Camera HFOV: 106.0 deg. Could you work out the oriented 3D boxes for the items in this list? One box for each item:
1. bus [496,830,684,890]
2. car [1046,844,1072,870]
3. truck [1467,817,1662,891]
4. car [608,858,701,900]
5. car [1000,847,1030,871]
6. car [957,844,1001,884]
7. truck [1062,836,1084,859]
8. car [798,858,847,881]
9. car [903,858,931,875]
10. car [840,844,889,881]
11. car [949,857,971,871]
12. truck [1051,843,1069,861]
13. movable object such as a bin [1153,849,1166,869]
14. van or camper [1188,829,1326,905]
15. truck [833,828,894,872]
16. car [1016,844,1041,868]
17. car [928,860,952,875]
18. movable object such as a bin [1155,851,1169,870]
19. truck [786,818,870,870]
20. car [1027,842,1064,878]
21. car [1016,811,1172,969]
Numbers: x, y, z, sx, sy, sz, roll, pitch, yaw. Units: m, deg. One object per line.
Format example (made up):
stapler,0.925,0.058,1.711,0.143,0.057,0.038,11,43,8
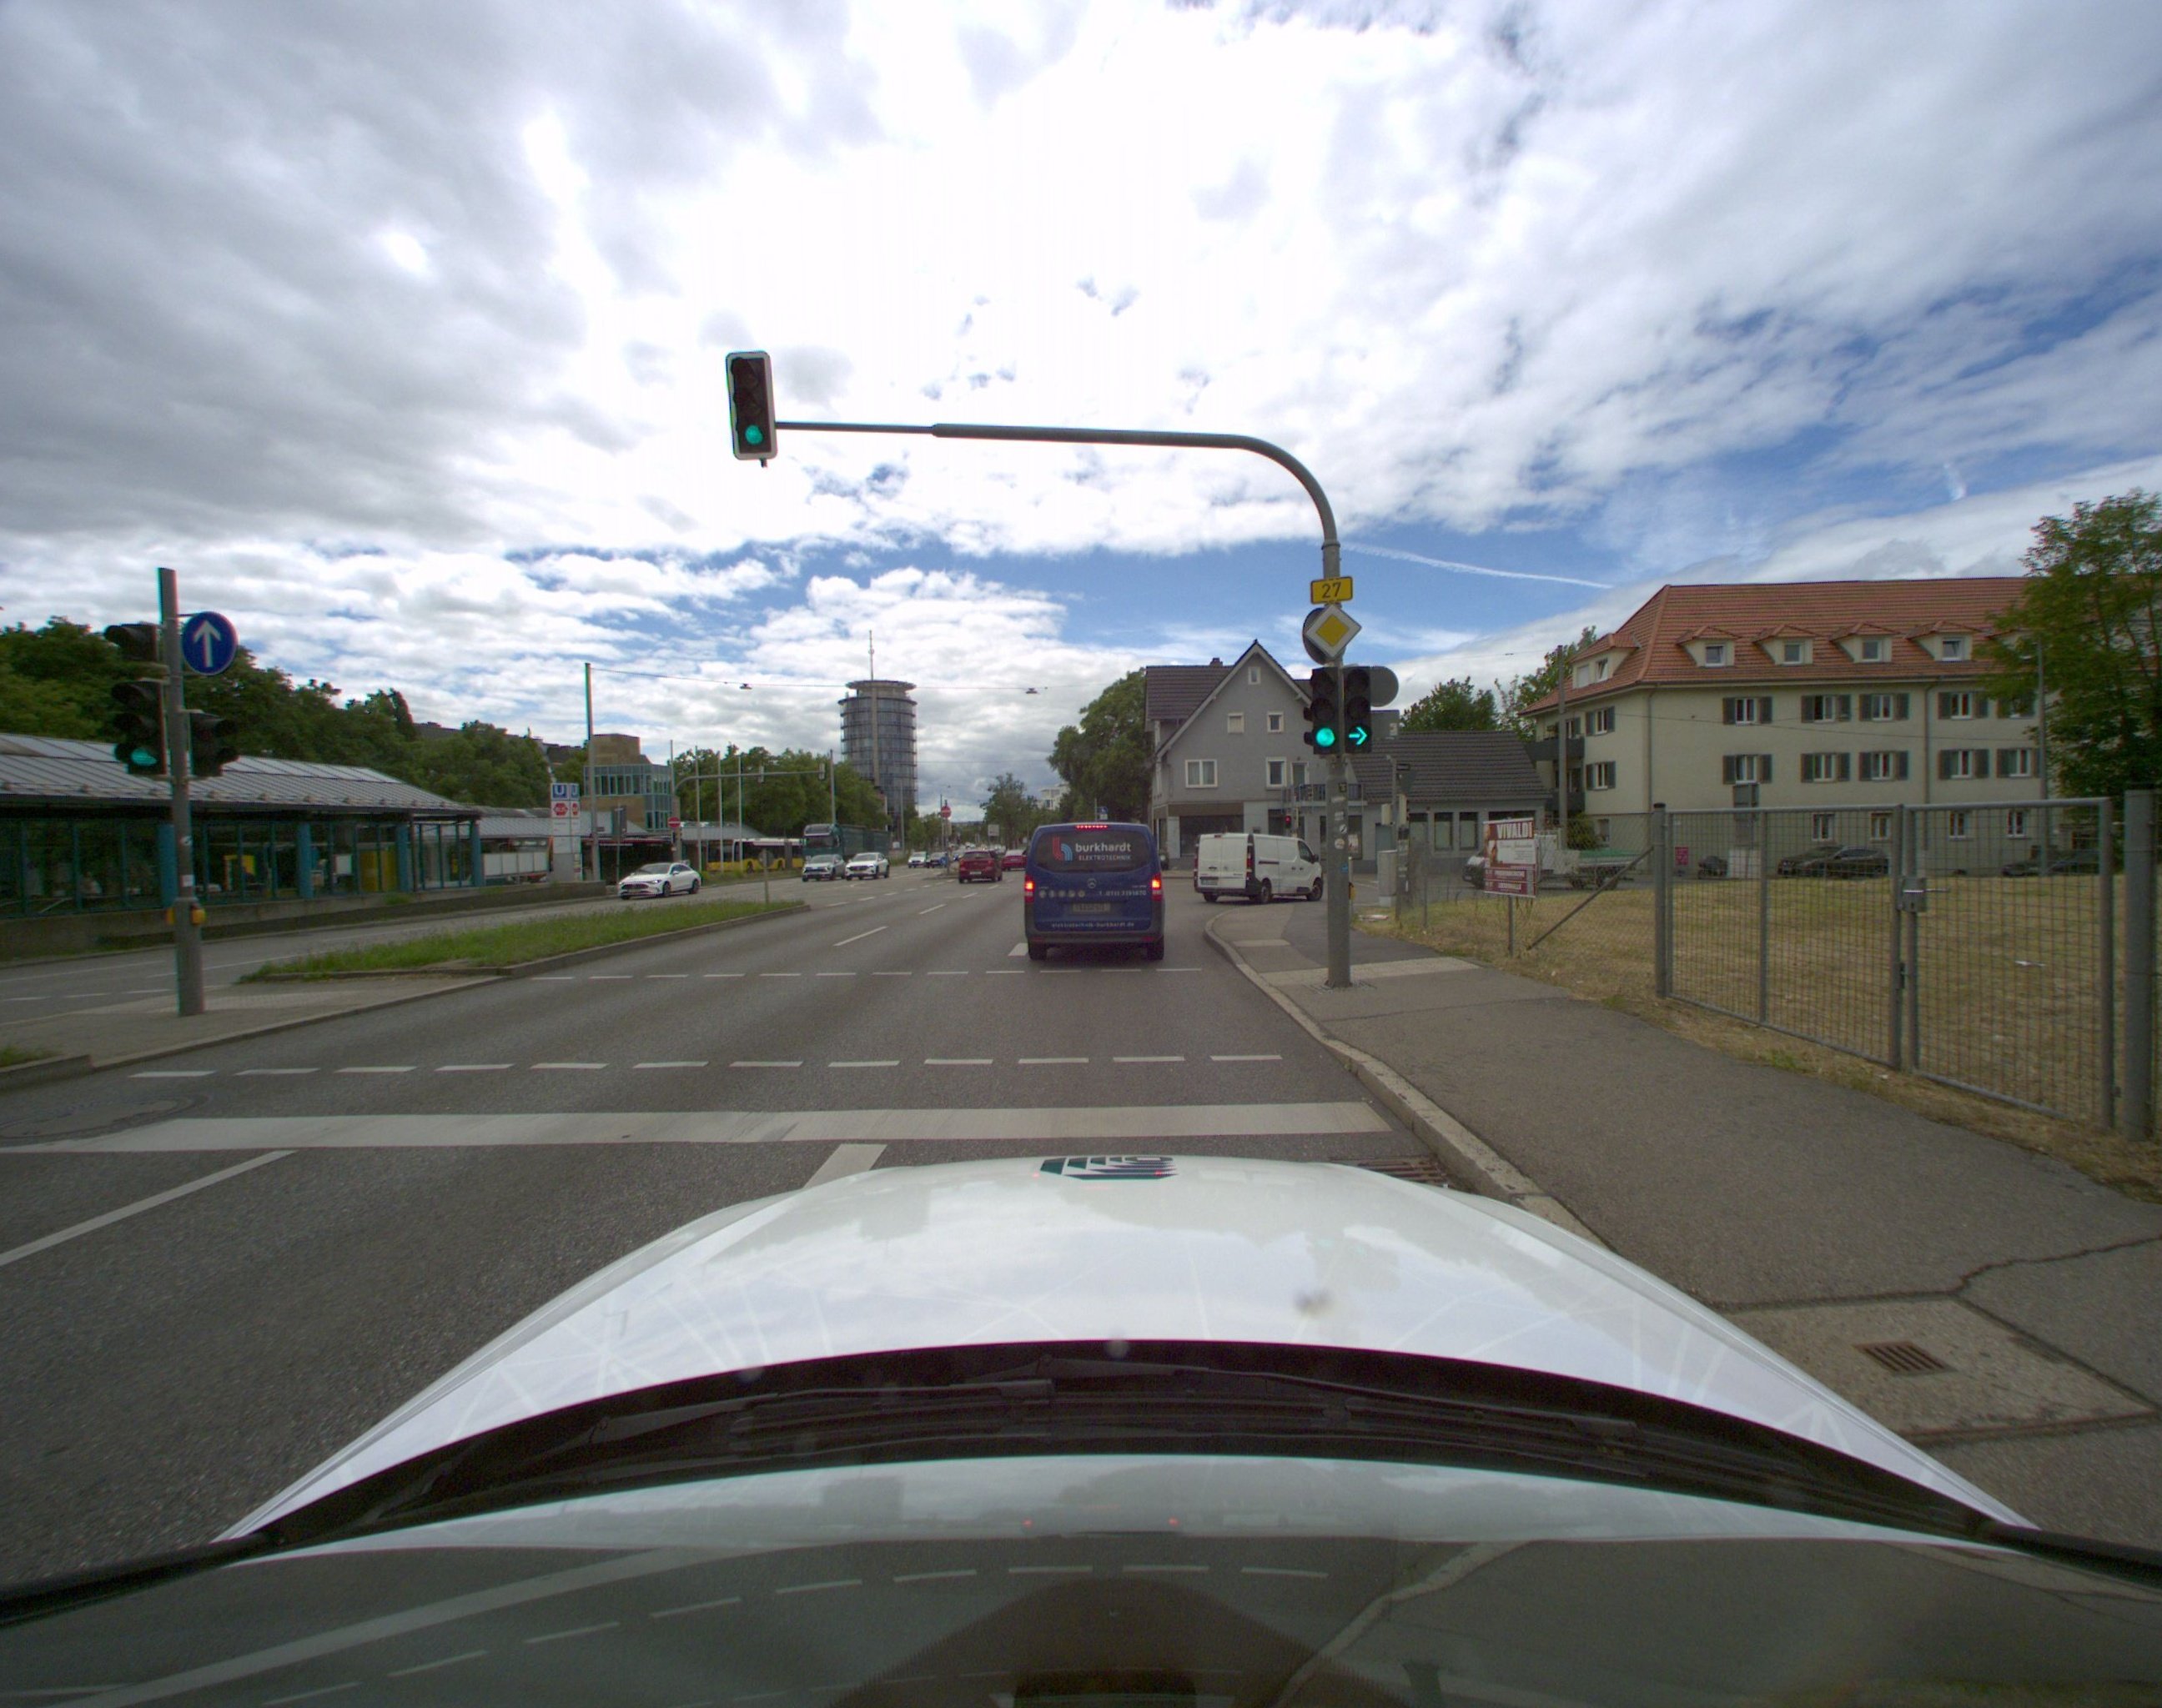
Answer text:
bus,-29.013,0.313,49.254,2.942,3.133,12.180,-1,0,6
car,-1.528,0.187,58.424,1.741,1.723,3.999,-2,0,-1
truck,18.687,0.005,31.681,6.364,2.701,2.000,1,0,0
car,-18.168,1.023,34.974,1.728,1.574,4.502,-2,0,-3
car,-4.611,0.370,56.565,1.867,1.486,3.989,-2,-1,-7
car,-4.724,0.413,38.189,1.742,1.723,3.995,-2,0,-3
truck,-0.739,-0.664,80.999,1.986,2.165,5.561,0,0,2
car,-15.912,0.954,50.278,1.825,1.262,3.997,-2,0,-2
car,-16.407,1.247,81.684,1.988,1.574,3.998,-2,0,-1
car,-12.881,0.486,48.756,1.989,2.013,4.174,-2,0,-3
car,-14.412,1.144,97.115,1.988,1.516,3.997,-2,0,-2
truck,-2.649,-0.283,104.795,1.986,2.165,5.561,0,0,2
movable object such as a bin,4.272,0.272,44.378,0.596,1.101,0.572,-2,0,-7
van or camper,5.346,0.268,24.162,1.974,2.013,5.129,2,2,38
truck,-19.830,-0.332,74.909,3.358,3.727,8.024,-2,0,-1
car,-4.627,0.126,71.464,1.992,2.013,3.990,0,1,-8
car,-13.144,1.241,75.883,1.992,1.332,4.433,-2,0,-8
movable object such as a bin,4.361,0.340,43.780,0.596,0.987,0.572,-2,0,-7
truck,-19.657,-0.708,64.198,3.359,3.727,11.273,-1,0,-1
car,-1.787,0.289,41.929,1.742,1.723,3.997,-2,0,-2
car,0.271,0.448,12.534,1.940,1.965,4.545,-1,0,3
